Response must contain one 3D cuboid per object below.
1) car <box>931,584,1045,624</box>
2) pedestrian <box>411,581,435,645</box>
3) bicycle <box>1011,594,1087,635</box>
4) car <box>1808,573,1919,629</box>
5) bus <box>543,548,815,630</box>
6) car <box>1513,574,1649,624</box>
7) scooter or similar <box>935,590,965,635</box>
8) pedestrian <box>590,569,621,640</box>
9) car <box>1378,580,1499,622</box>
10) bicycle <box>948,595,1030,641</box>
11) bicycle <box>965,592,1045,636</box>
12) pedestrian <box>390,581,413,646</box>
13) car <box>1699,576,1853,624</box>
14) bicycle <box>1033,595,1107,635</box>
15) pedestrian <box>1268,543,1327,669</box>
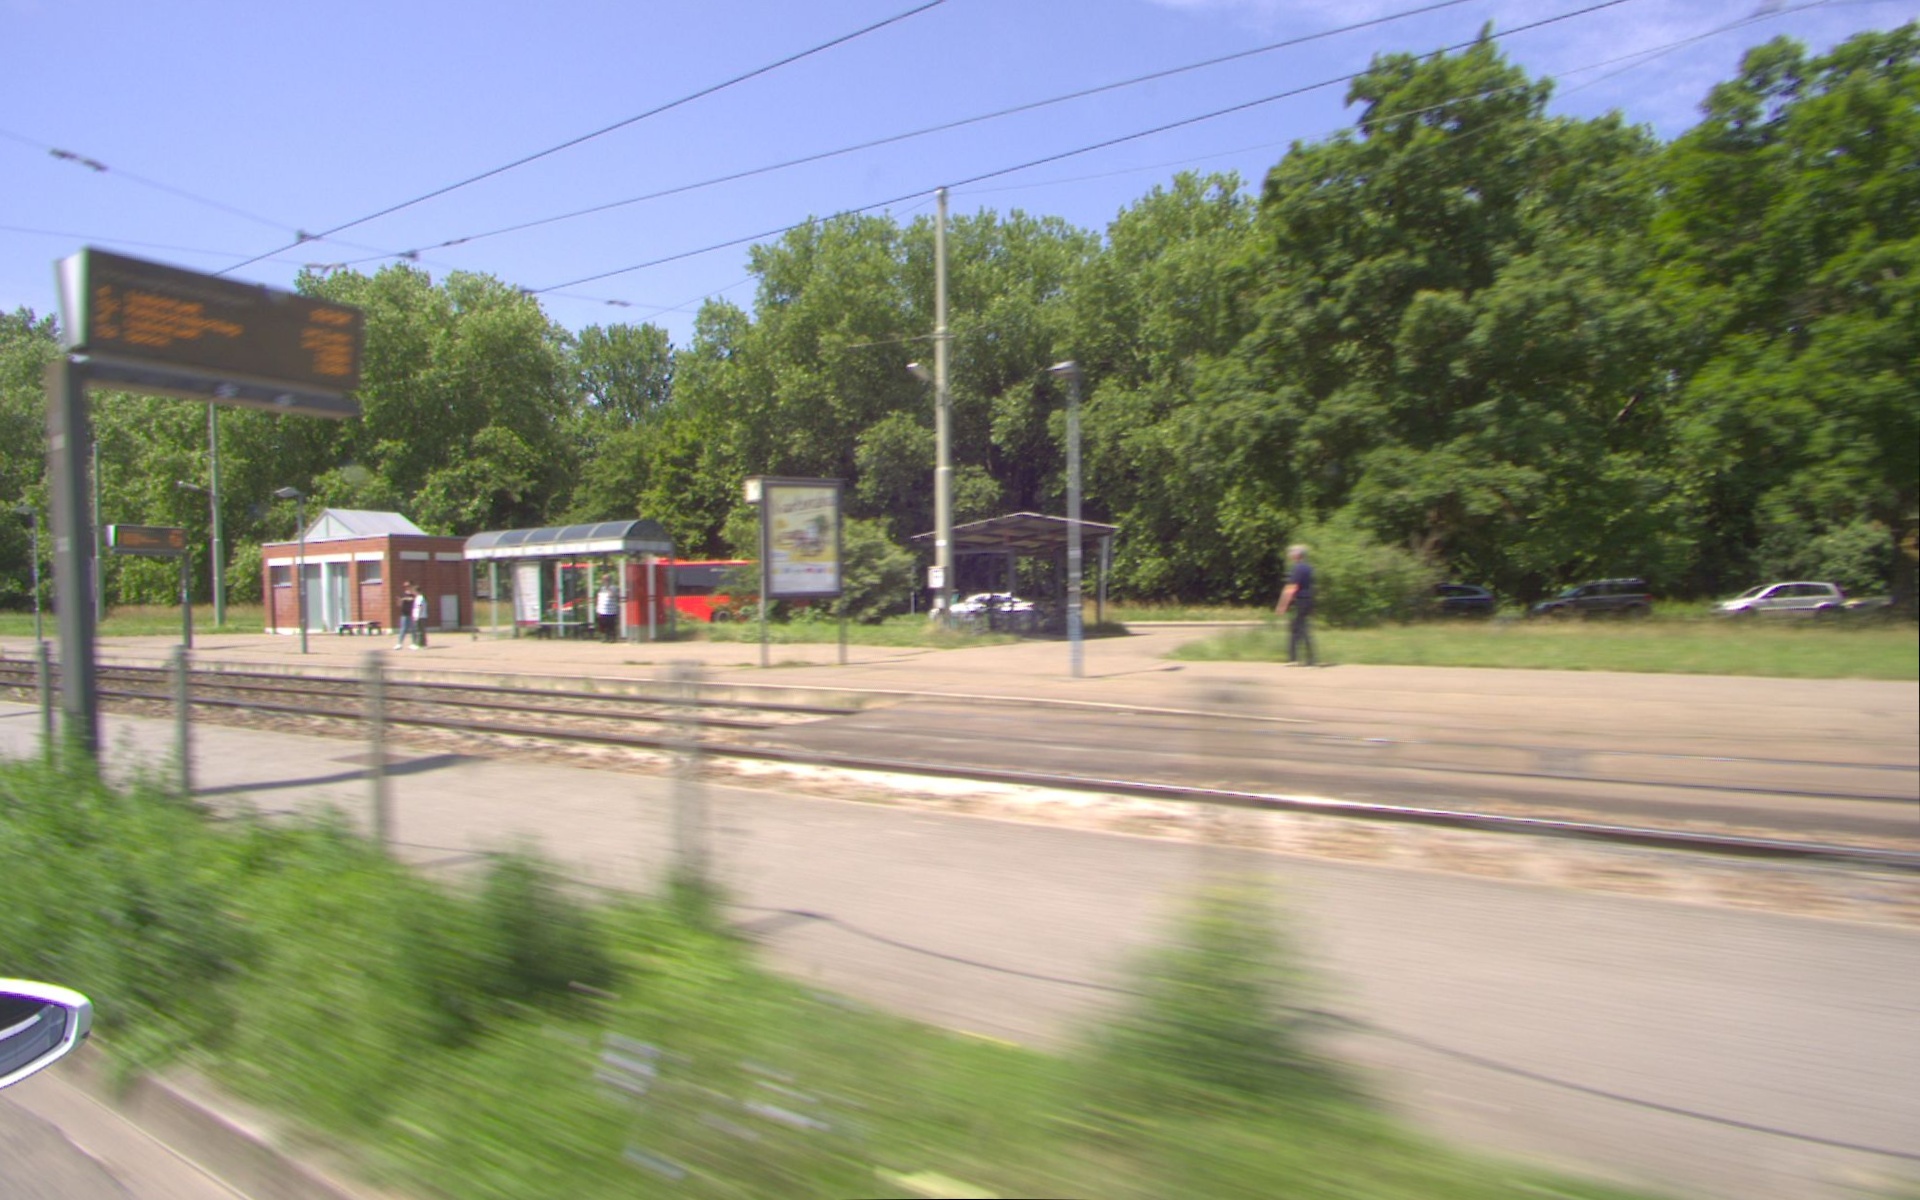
[{"bbox_3d":[1.236,0.170,42.866,4.636,1.651,1.998,-1,1,11],"label":"car"},{"bbox_3d":[-13.827,0.340,25.778,0.476,1.617,0.359,-1,-1,35],"label":"pedestrian"},{"bbox_3d":[2.583,0.415,29.283,2.159,1.102,0.596,2,3,33],"label":"bicycle"},{"bbox_3d":[29.018,-0.001,30.061,4.963,1.633,2.122,-1,1,14],"label":"car"},{"bbox_3d":[-12.954,-0.406,46.200,12.212,3.483,2.767,-1,-1,12],"label":"bus"},{"bbox_3d":[23.483,-0.048,38.022,3.924,1.795,1.998,-1,1,11],"label":"car"},{"bbox_3d":[-0.261,0.307,25.824,0.742,1.150,0.244,0,2,10],"label":"scooter or similar"},{"bbox_3d":[-9.104,0.125,25.719,0.730,1.797,0.380,-1,-1,35],"label":"pedestrian"},{"bbox_3d":[18.567,0.037,39.022,3.925,1.531,1.886,-1,1,12],"label":"car"},{"bbox_3d":[0.748,0.450,26.436,2.159,1.102,0.596,2,3,33],"label":"bicycle"},{"bbox_3d":[1.208,0.367,27.173,2.159,1.102,0.596,2,3,33],"label":"bicycle"},{"bbox_3d":[-14.557,0.358,26.101,0.439,1.667,0.359,-1,-1,35],"label":"pedestrian"},{"bbox_3d":[29.888,-0.004,36.808,3.925,1.684,1.851,-1,1,13],"label":"car"},{"bbox_3d":[3.312,0.432,30.201,2.159,1.102,0.596,2,3,33],"label":"bicycle"},{"bbox_3d":[4.937,0.084,14.632,0.648,1.788,0.704,0,2,33],"label":"pedestrian"}]
